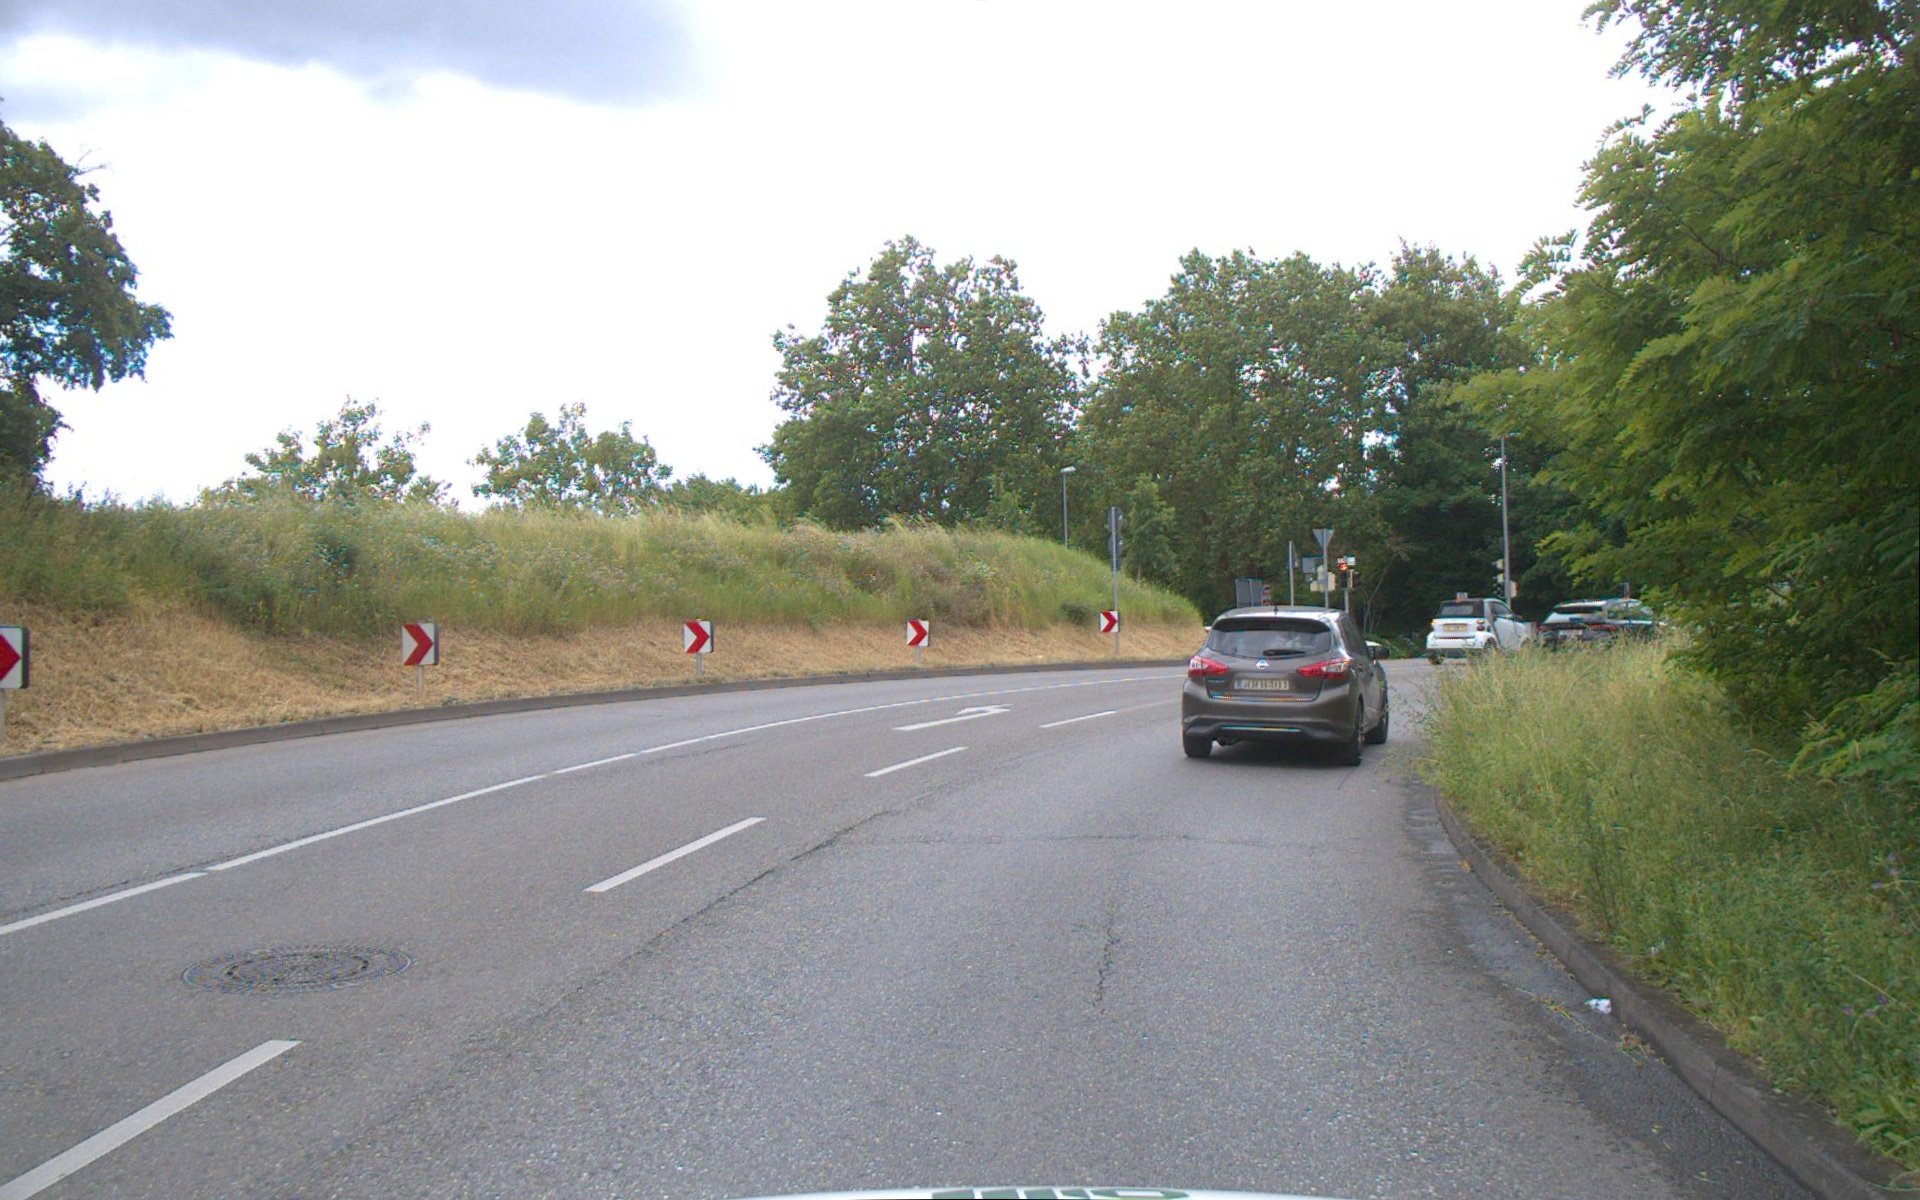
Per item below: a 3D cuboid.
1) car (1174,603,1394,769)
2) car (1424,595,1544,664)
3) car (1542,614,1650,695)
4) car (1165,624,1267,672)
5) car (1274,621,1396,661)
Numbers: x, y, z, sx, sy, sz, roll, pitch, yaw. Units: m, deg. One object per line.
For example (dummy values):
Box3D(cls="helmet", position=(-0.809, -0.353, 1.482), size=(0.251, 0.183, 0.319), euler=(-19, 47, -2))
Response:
Box3D(cls="car", position=(3.560, 0.803, 17.604), size=(1.806, 1.519, 4.002), euler=(1, 0, 18))
Box3D(cls="car", position=(12.648, 0.697, 39.867), size=(2.993, 1.585, 1.555), euler=(1, 0, -44))
Box3D(cls="car", position=(13.360, 1.086, 34.618), size=(1.862, 1.492, 3.998), euler=(1, 1, 24))
Box3D(cls="car", position=(10.729, 2.035, 69.448), size=(1.837, 1.845, 3.981), euler=(0, -4, -39))
Box3D(cls="car", position=(14.613, 1.621, 64.579), size=(1.981, 1.362, 4.356), euler=(3, -5, -39))
